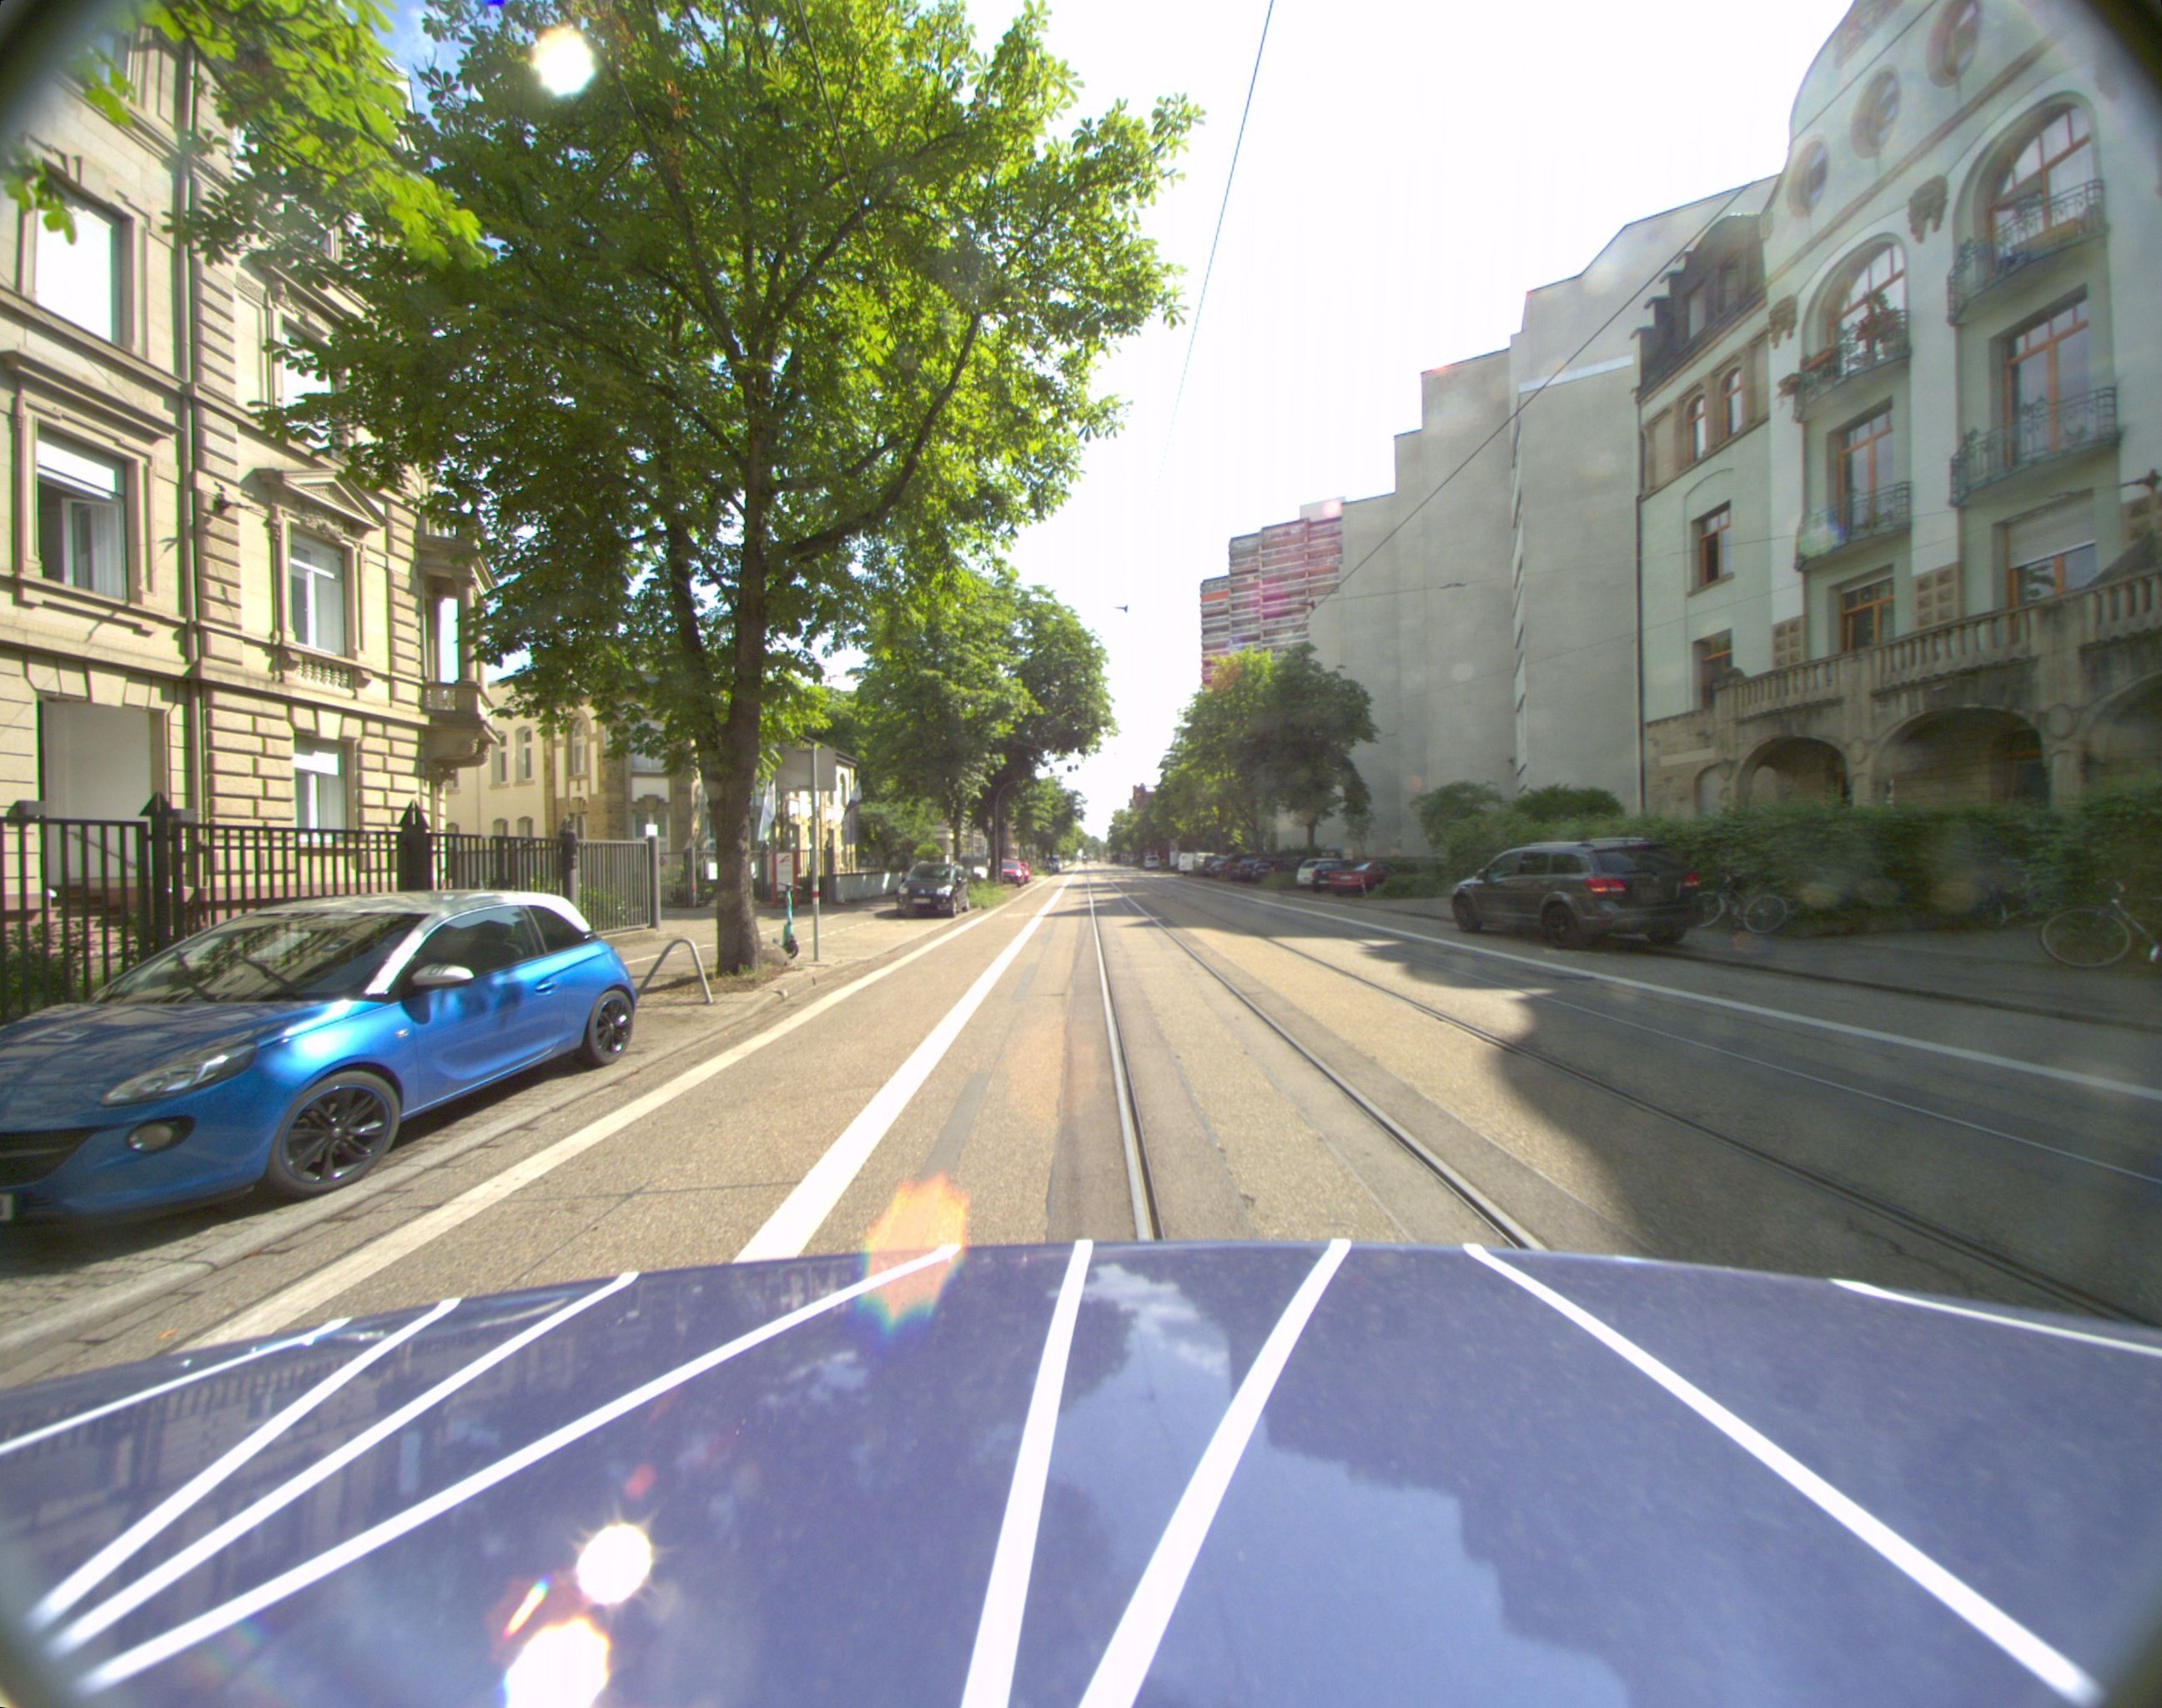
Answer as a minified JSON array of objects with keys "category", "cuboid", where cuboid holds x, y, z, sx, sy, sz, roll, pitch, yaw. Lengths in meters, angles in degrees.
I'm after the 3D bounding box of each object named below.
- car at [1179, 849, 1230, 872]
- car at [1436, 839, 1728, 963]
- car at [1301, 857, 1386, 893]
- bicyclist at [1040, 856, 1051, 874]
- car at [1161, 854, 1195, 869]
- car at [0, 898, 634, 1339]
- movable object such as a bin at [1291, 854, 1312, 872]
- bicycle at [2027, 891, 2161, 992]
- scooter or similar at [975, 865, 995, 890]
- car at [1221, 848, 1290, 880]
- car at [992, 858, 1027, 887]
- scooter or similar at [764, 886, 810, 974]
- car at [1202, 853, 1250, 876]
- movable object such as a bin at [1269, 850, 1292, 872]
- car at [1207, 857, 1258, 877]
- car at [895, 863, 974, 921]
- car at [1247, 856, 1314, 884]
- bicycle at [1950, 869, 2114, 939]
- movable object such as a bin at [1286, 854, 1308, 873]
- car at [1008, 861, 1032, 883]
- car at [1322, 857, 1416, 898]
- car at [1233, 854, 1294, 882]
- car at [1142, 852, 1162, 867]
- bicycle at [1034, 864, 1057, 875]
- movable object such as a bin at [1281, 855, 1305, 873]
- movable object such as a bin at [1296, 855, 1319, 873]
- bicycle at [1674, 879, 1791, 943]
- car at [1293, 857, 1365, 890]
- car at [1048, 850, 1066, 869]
[{"category":"car","cuboid":[11.167,0.608,68.679,4.695,1.985,1.963,-1,0,-41]},{"category":"car","cuboid":[8.368,0.688,13.387,1.790,1.752,4.882,-1,0,-2]},{"category":"car","cuboid":[11.466,0.886,33.098,3.815,1.475,1.693,1,0,-39]},{"category":"bicyclist","cuboid":[-3.242,1.006,69.353,0.740,1.567,0.644,0,1,23]},{"category":"car","cuboid":[10.592,0.808,82.761,1.737,1.514,3.893,-1,0,44]},{"category":"car","cuboid":[-4.641,1.123,4.715,1.644,1.487,3.626,0,0,-1]},{"category":"movable object such as a bin","cuboid":[16.691,0.701,57.531,1.167,1.319,1.441,2,1,-1]},{"category":"bicycle","cuboid":[11.115,0.915,7.820,0.384,0.953,1.921,-3,0,2]},{"category":"scooter or similar","cuboid":[-4.840,1.162,38.313,0.341,1.230,1.262,2,1,24]},{"category":"car","cuboid":[11.423,0.666,49.500,1.911,1.943,5.180,1,0,44]},{"category":"car","cuboid":[-4.312,1.090,46.513,1.881,1.666,4.281,0,0,-2]},{"category":"scooter or similar","cuboid":[-4.634,1.159,11.943,0.443,1.291,1.179,2,-2,-30]},{"category":"car","cuboid":[11.233,0.790,58.898,3.723,1.683,1.755,1,0,-43]},{"category":"movable object such as a bin","cuboid":[16.892,0.586,64.441,1.391,1.771,1.538,2,1,-4]},{"category":"car","cuboid":[11.112,0.943,55.599,1.755,1.409,4.009,1,0,44]},{"category":"car","cuboid":[-4.459,1.111,23.740,1.701,1.582,4.202,0,0,-1]},{"category":"car","cuboid":[11.275,0.901,42.842,4.009,1.475,1.736,1,0,-42]},{"category":"bicycle","cuboid":[14.439,0.751,11.556,1.919,0.953,0.384,-3,0,1]},{"category":"movable object such as a bin","cuboid":[16.886,0.747,59.434,1.196,1.372,1.441,2,1,-3]},{"category":"car","cuboid":[-4.298,1.235,54.012,1.605,1.420,3.595,2,0,-3]},{"category":"car","cuboid":[11.361,0.894,29.891,3.979,1.475,1.841,1,0,-43]},{"category":"car","cuboid":[11.134,0.857,46.209,4.009,1.583,1.736,1,0,-44]},{"category":"car","cuboid":[9.557,0.724,102.661,1.892,1.840,4.234,-4,0,-4]},{"category":"bicycle","cuboid":[-3.285,1.409,69.383,1.996,1.034,0.658,0,1,23]},{"category":"movable object such as a bin","cuboid":[16.988,0.776,61.036,1.391,1.356,1.538,2,1,-4]},{"category":"movable object such as a bin","cuboid":[16.703,0.743,56.060,1.171,1.276,1.441,2,1,-1]},{"category":"bicycle","cuboid":[11.145,0.940,13.081,0.384,0.953,1.921,-3,0,2]},{"category":"car","cuboid":[11.857,0.903,36.217,1.692,1.475,3.816,1,0,45]},{"category":"car","cuboid":[-3.496,0.817,110.029,2.337,2.545,5.389,-4,0,-1]}]
